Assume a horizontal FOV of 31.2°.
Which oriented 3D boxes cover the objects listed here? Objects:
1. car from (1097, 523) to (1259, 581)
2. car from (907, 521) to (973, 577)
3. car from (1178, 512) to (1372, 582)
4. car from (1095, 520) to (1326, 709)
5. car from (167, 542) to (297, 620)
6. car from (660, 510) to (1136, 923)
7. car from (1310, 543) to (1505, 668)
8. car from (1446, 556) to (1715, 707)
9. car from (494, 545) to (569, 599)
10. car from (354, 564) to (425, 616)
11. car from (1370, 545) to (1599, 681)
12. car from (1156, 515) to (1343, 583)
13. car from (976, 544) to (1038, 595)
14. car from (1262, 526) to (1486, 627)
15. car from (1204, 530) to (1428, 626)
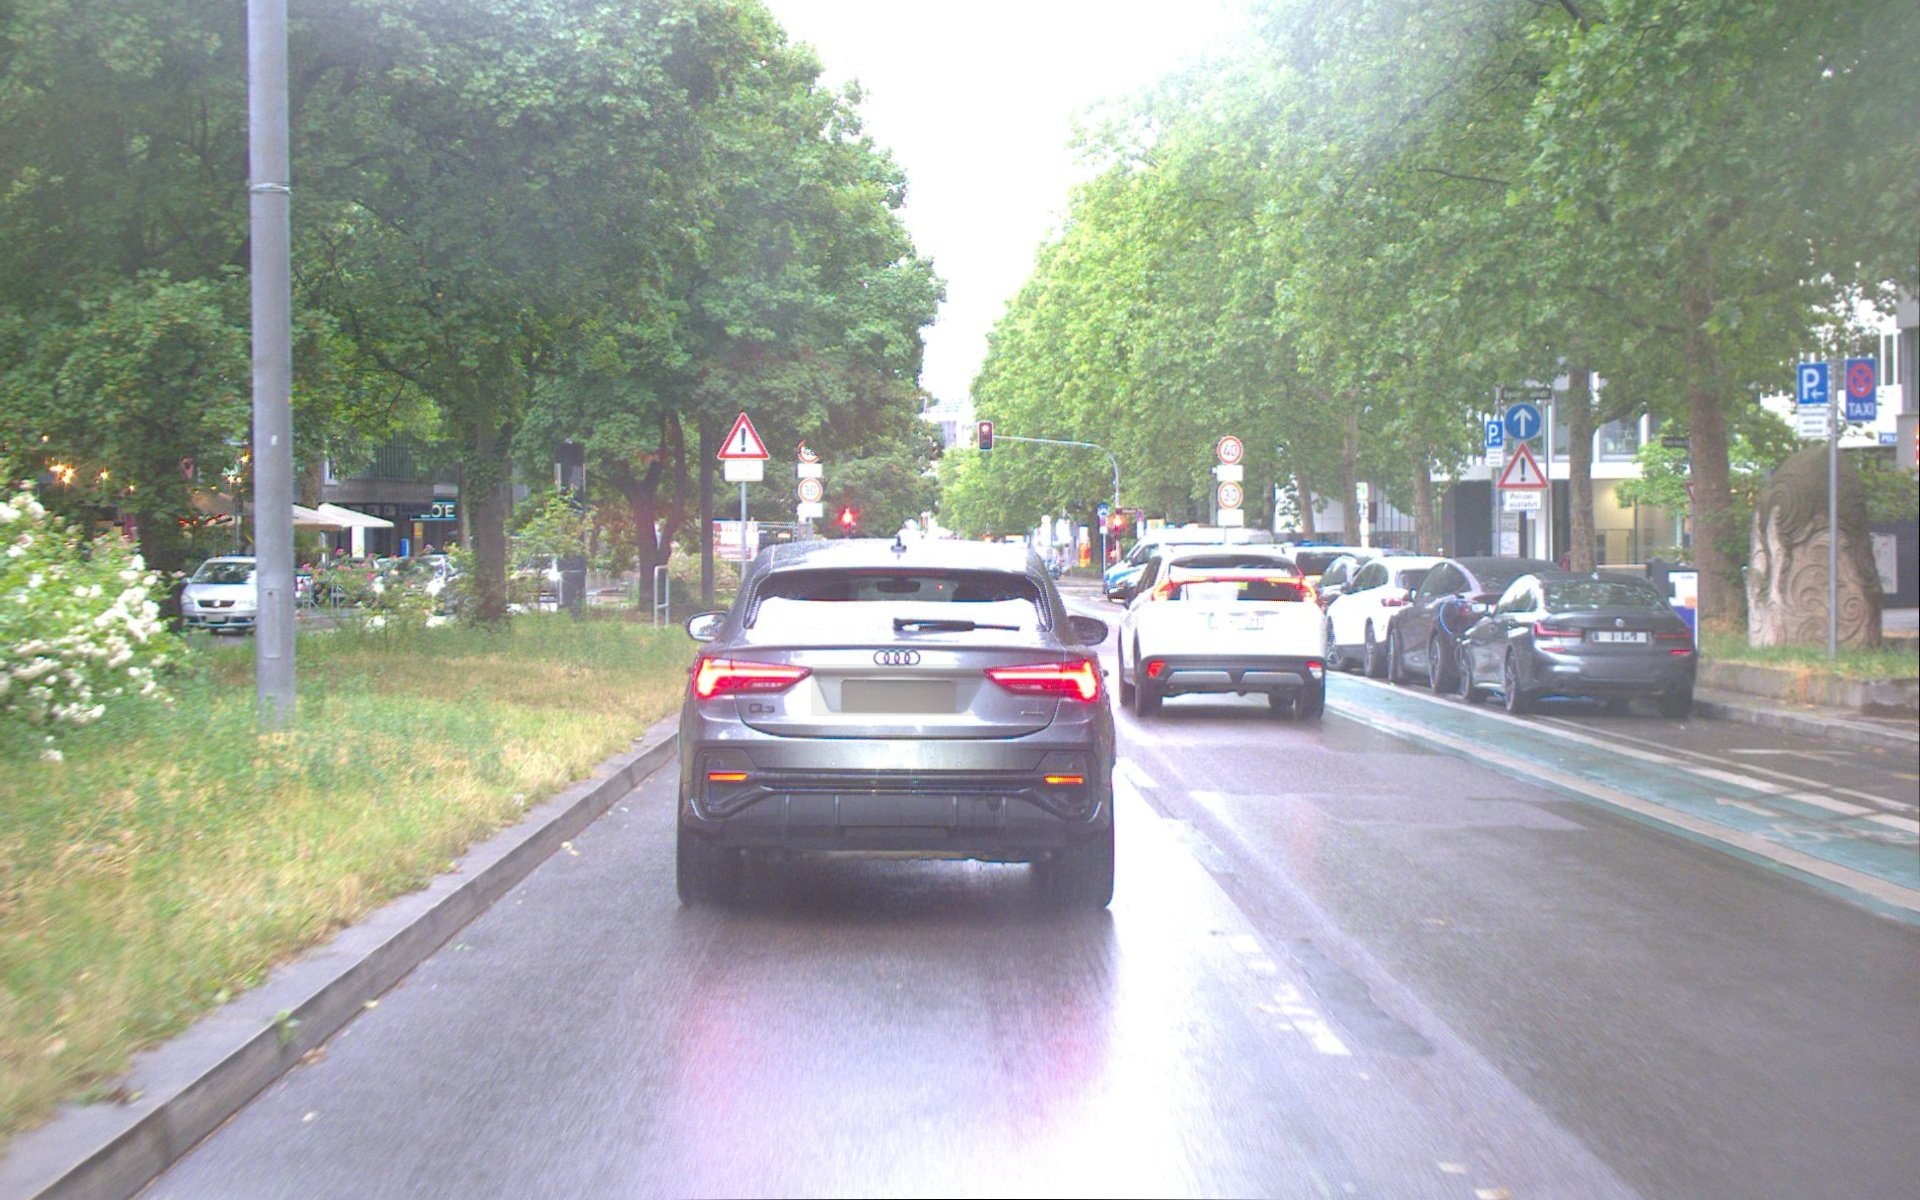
[{"bbox_3d":[6.864,-1.511,108.169,4.645,1.700,1.997,2,0,27],"label":"car"},{"bbox_3d":[-0.664,-1.621,110.266,1.993,1.721,4.000,2,0,-1],"label":"car"},{"bbox_3d":[8.295,-1.393,90.605,4.645,1.700,1.997,2,0,27],"label":"car"},{"bbox_3d":[2.405,0.128,33.903,1.878,1.691,4.000,2,0,-1],"label":"car"},{"bbox_3d":[-13.797,-0.362,65.298,1.649,1.430,3.812,0,0,0],"label":"car"},{"bbox_3d":[-0.305,0.435,15.534,1.849,1.596,4.000,1,1,-2],"label":"car"},{"bbox_3d":[6.006,0.057,46.598,1.727,1.566,4.074,2,0,-5],"label":"car"},{"bbox_3d":[6.422,0.288,36.071,1.873,1.416,4.611,2,0,-1],"label":"car"},{"bbox_3d":[-14.085,-0.914,113.208,1.760,1.698,4.333,2,0,1],"label":"car"},{"bbox_3d":[-14.493,-0.270,87.424,1.688,1.253,3.645,2,0,-9],"label":"car"},{"bbox_3d":[6.329,0.144,41.997,1.867,1.515,4.559,2,0,-3],"label":"car"},{"bbox_3d":[7.922,-1.406,94.147,4.645,1.700,1.997,2,0,27],"label":"car"},{"bbox_3d":[1.605,-1.044,118.502,1.993,1.645,4.000,2,0,0],"label":"car"},{"bbox_3d":[9.916,-0.571,82.369,4.889,2.246,1.997,2,0,28],"label":"car"},{"bbox_3d":[7.953,-0.498,77.035,4.602,2.007,1.964,2,0,38],"label":"car"}]
